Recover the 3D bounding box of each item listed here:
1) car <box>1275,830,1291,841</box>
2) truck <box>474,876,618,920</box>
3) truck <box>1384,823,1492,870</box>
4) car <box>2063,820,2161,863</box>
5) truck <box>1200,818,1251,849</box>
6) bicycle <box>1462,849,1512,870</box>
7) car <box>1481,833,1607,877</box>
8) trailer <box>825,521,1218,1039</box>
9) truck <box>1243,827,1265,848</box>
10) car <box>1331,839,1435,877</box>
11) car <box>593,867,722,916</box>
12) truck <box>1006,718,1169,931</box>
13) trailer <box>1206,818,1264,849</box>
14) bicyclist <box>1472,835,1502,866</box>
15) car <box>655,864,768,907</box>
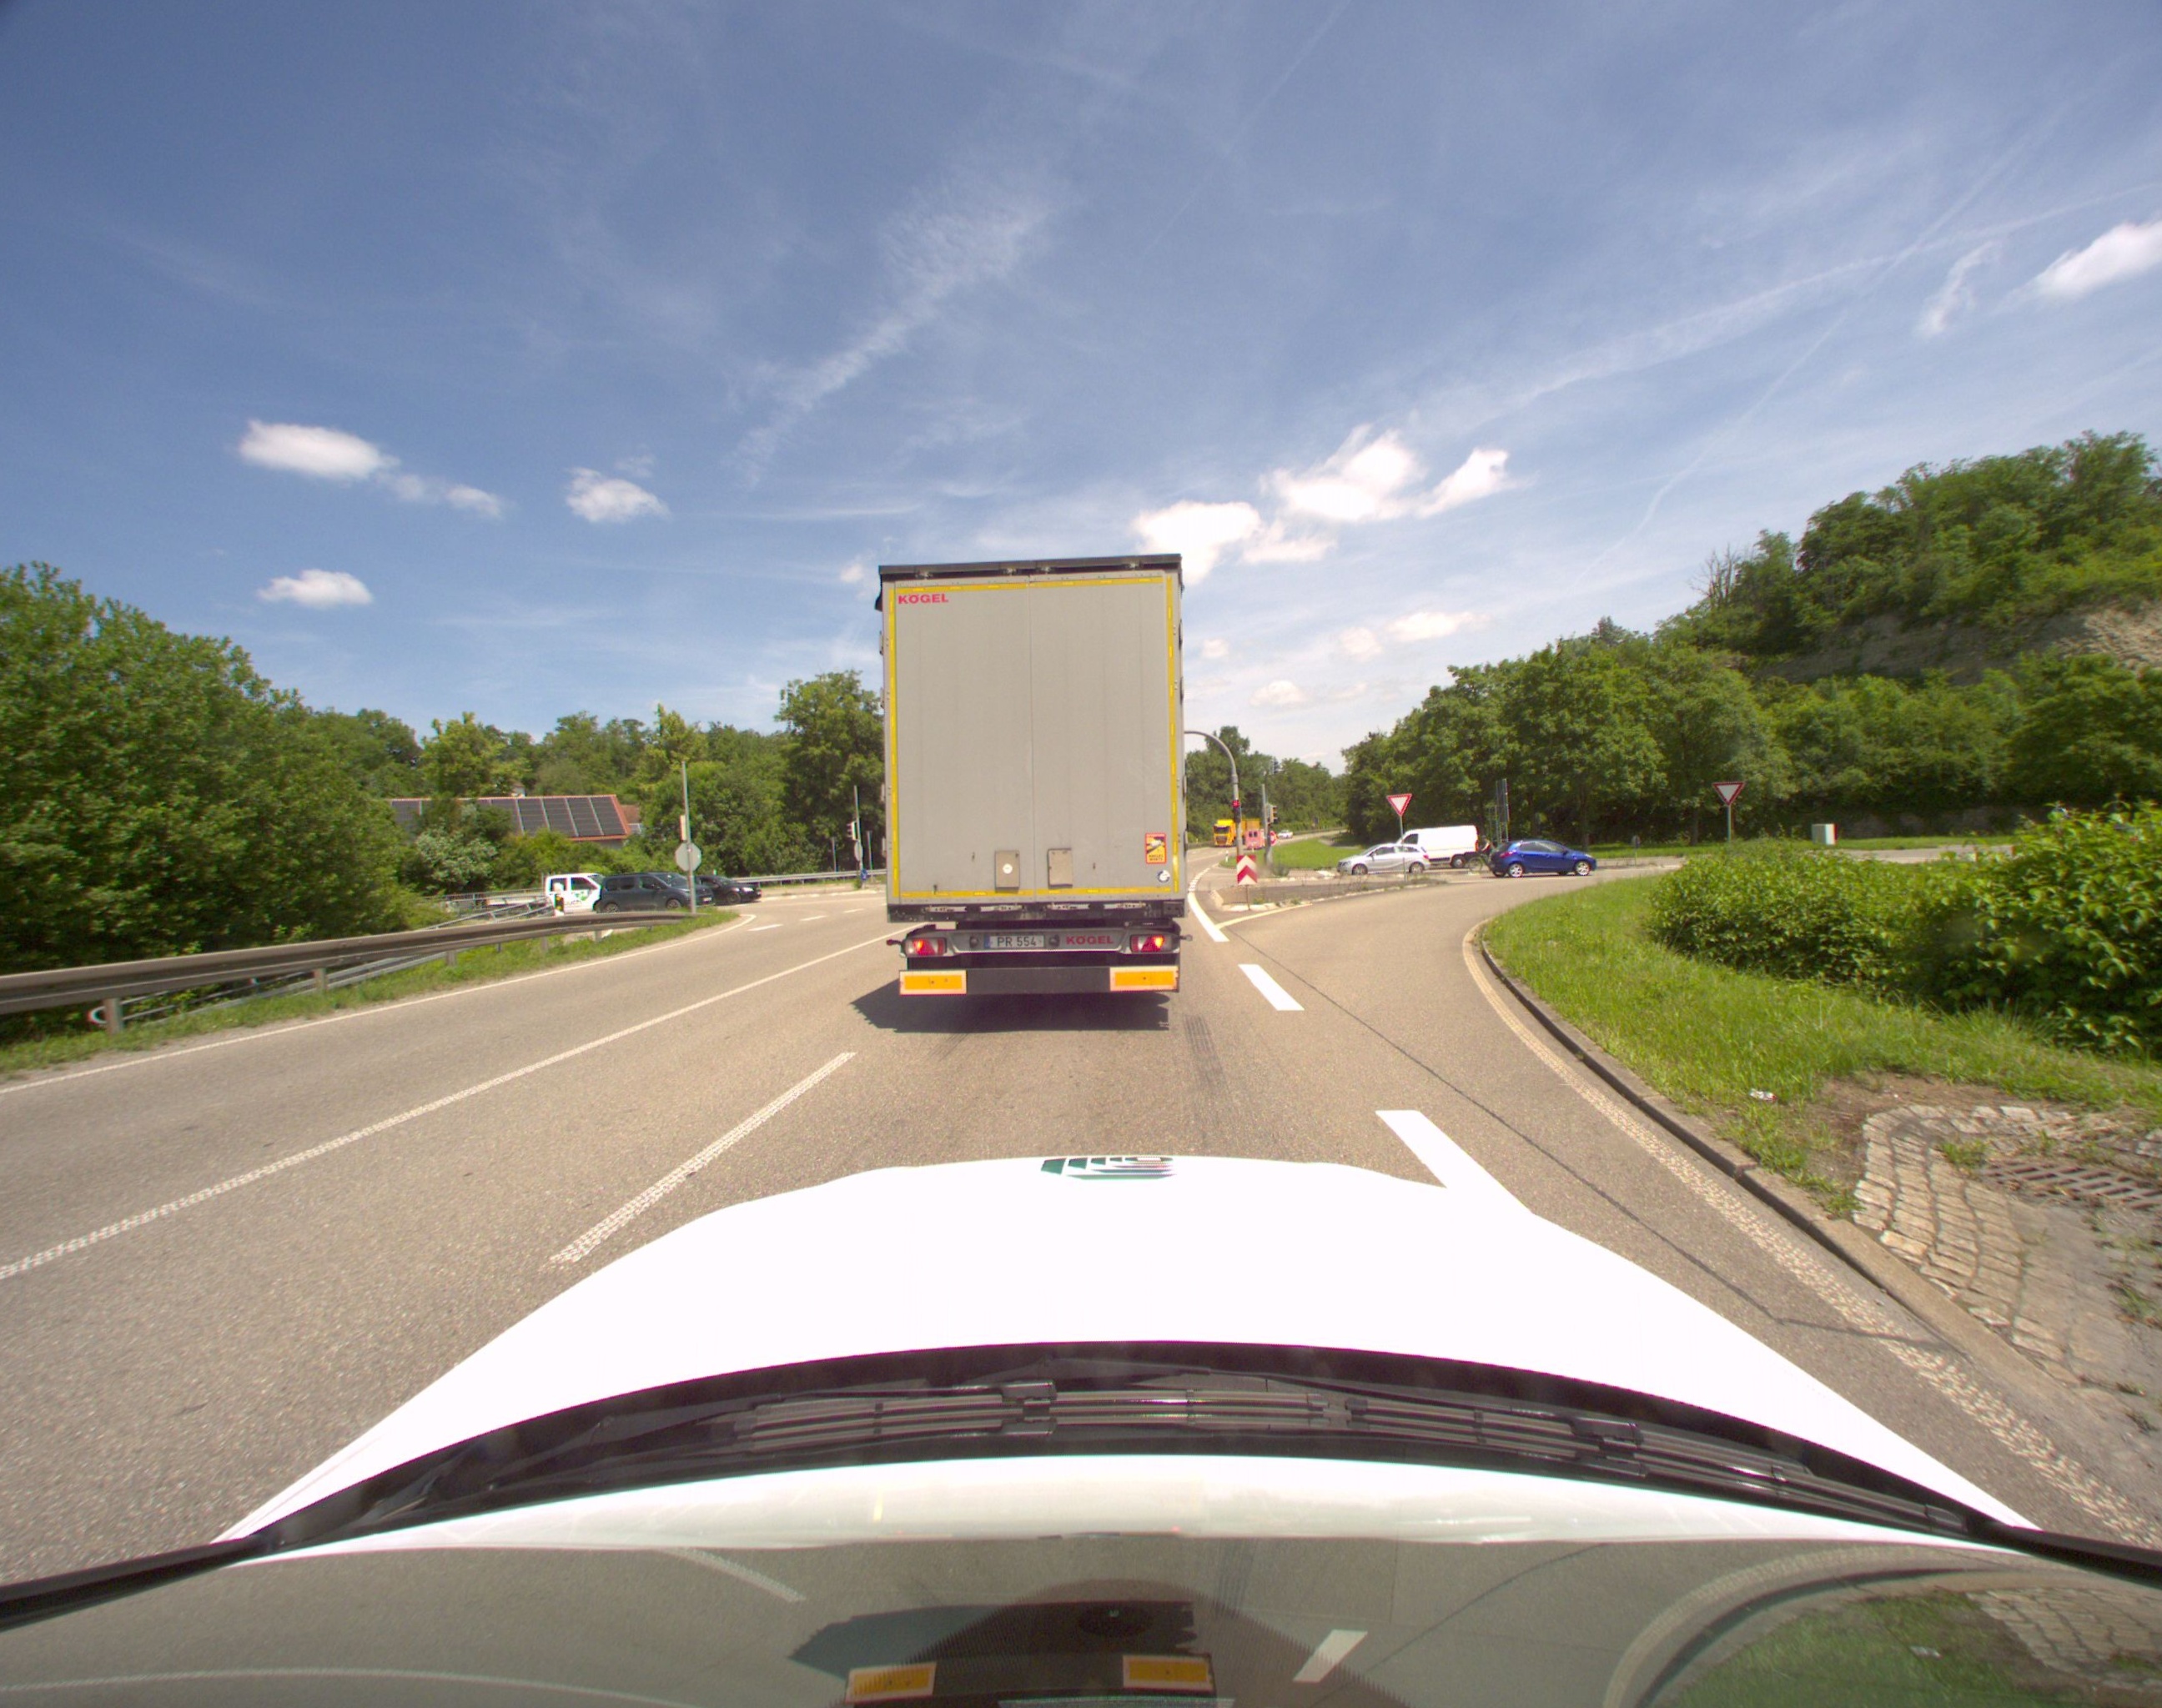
[{"bbox_3d":[37.460,-3.478,151.193,1.975,2.013,4.025,-2,1,28],"label":"car"},{"bbox_3d":[-23.570,1.922,36.095,4.877,1.791,2.036,0,-2,-11],"label":"truck"},{"bbox_3d":[19.092,-0.353,43.806,5.103,2.296,2.009,-1,-2,18],"label":"truck"},{"bbox_3d":[40.008,-0.448,30.515,4.235,1.491,1.997,-1,-2,-4],"label":"car"},{"bbox_3d":[22.007,-3.140,123.134,4.967,4.362,11.830,-2,1,22],"label":"truck"},{"bbox_3d":[19.590,0.262,39.339,1.983,0.995,0.797,-1,-2,-1],"label":"bicycle"},{"bbox_3d":[18.089,0.071,31.963,3.828,1.613,1.883,-1,-2,3],"label":"car"},{"bbox_3d":[-0.076,-0.572,12.780,3.038,4.034,12.571,-2,0,4],"label":"trailer"},{"bbox_3d":[23.474,-2.204,110.132,2.475,2.727,6.055,-1,0,15],"label":"truck"},{"bbox_3d":[14.715,0.218,39.926,4.405,1.718,2.003,-1,-2,6],"label":"car"},{"bbox_3d":[-17.034,1.488,32.854,4.206,1.770,2.006,-2,-1,11],"label":"car"},{"bbox_3d":[0.341,-0.563,19.030,3.025,4.034,6.636,-2,0,4],"label":"truck"},{"bbox_3d":[24.997,-3.343,130.476,4.967,4.362,20.952,-2,1,22],"label":"trailer"},{"bbox_3d":[19.629,-0.181,39.361,1.002,1.448,0.795,-1,-2,-1],"label":"bicyclist"},{"bbox_3d":[-16.735,1.427,36.983,4.206,1.770,2.006,-2,-1,11],"label":"car"}]
